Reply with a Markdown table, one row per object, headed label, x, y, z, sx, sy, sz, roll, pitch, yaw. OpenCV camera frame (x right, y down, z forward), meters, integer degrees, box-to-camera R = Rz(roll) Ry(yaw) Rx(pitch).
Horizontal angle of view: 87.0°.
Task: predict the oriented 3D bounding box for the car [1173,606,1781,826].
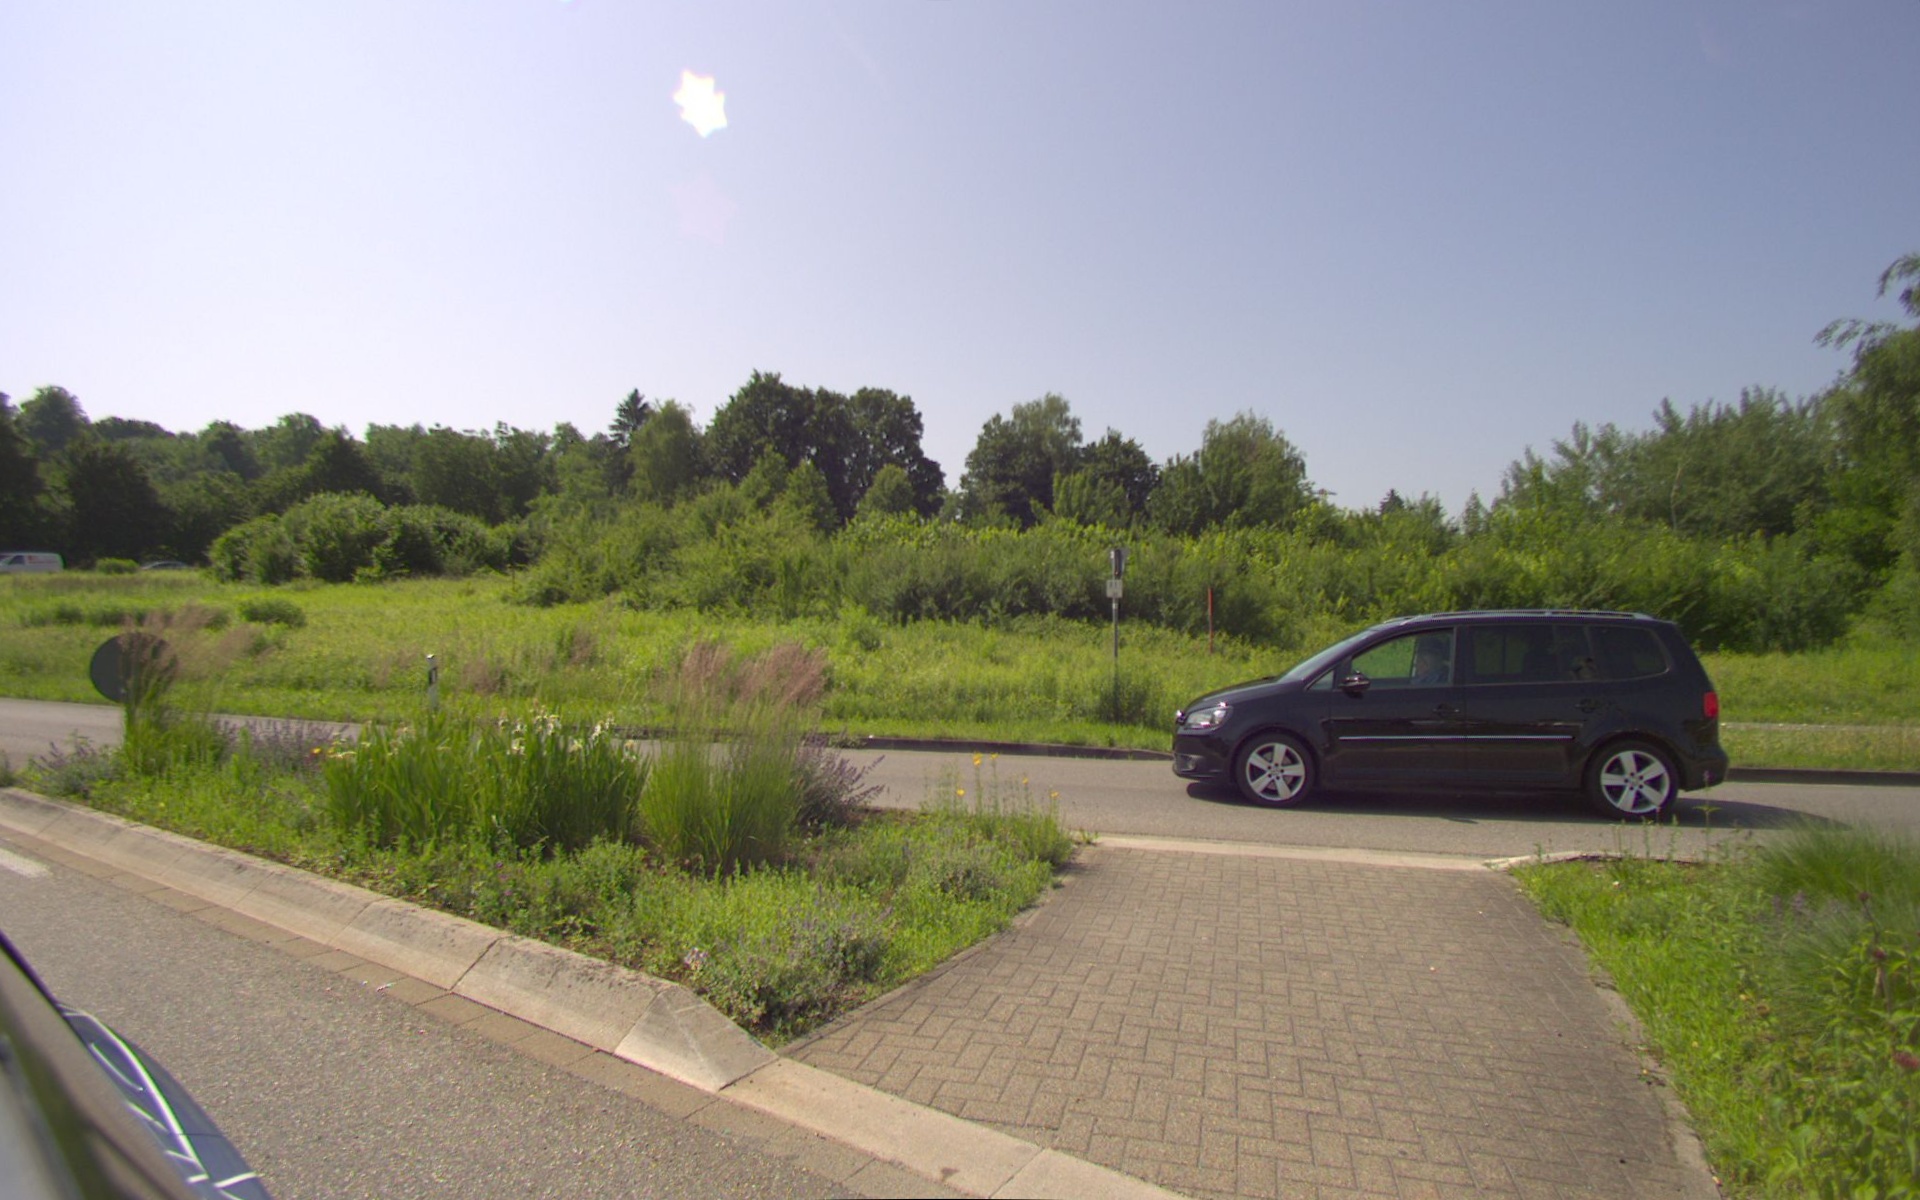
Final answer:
| label | x | y | z | sx | sy | sz | roll | pitch | yaw |
| --- | --- | --- | --- | --- | --- | --- | --- | --- | --- |
| car | 4.096 | 0.911 | 8.861 | 4.330 | 1.607 | 1.904 | -1 | -3 | 13 |

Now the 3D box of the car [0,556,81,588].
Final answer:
| label | x | y | z | sx | sy | sz | roll | pitch | yaw |
| --- | --- | --- | --- | --- | --- | --- | --- | --- | --- |
| car | -61.934 | -1.813 | 67.000 | 1.979 | 2.029 | 5.582 | 0 | 0 | 12 |
